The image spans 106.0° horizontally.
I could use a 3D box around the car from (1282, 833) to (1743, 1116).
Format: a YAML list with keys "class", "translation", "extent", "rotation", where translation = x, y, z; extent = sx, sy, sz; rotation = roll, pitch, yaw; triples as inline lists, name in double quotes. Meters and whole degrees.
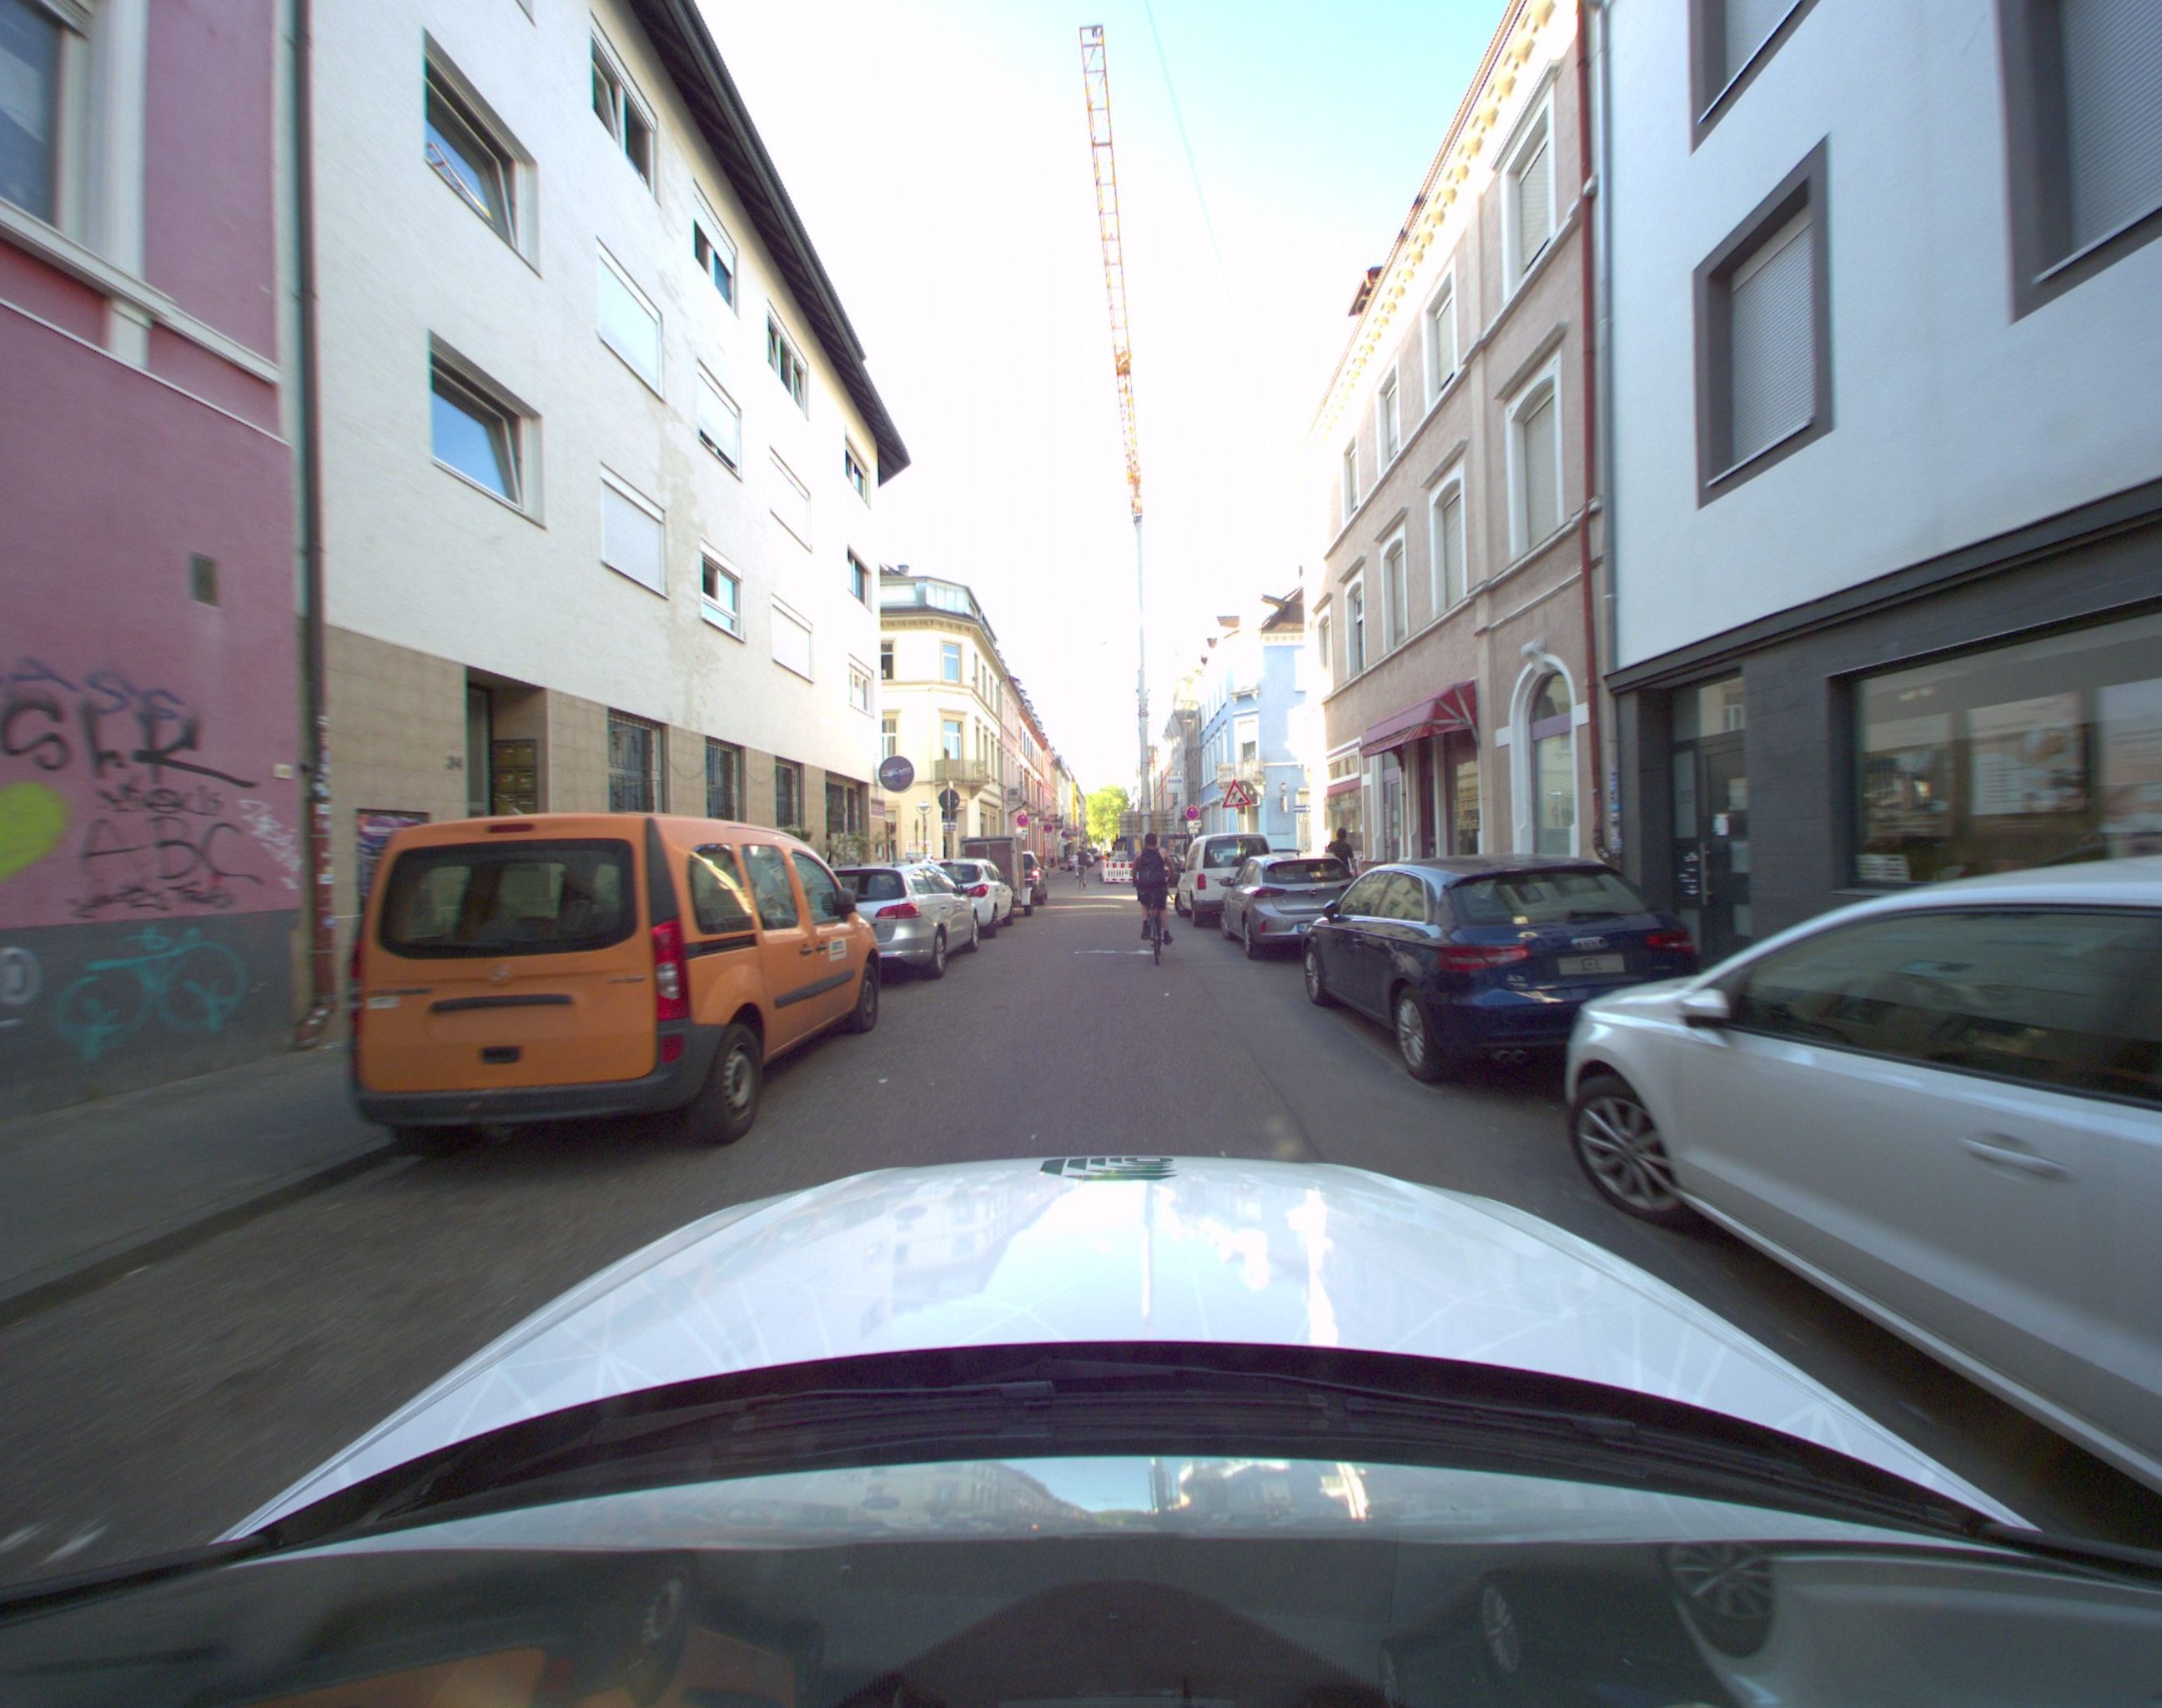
- class: "car"
  translation: [2.953, 0.708, 6.647]
  extent: [1.640, 1.475, 3.972]
  rotation: [-5, -1, 2]

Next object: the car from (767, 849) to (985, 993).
- class: "car"
  translation: [-2.548, 0.763, 11.254]
  extent: [1.743, 1.537, 4.320]
  rotation: [-2, -1, 2]

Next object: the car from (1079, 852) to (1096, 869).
- class: "car"
  translation: [0.729, 0.720, 91.320]
  extent: [1.743, 1.821, 3.797]
  rotation: [-2, -1, 2]

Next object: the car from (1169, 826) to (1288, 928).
- class: "car"
  translation: [3.045, 0.459, 17.574]
  extent: [1.745, 1.879, 3.971]
  rotation: [-2, -1, -1]

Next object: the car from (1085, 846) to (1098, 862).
- class: "car"
  translation: [1.624, -0.020, 120.526]
  extent: [1.743, 2.318, 3.797]
  rotation: [-2, -1, 2]

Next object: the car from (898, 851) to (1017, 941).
- class: "car"
  translation: [-2.337, 0.756, 16.270]
  extent: [1.647, 1.537, 3.635]
  rotation: [-2, -1, 2]

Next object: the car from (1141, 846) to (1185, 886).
- class: "car"
  translation: [3.477, 0.511, 34.969]
  extent: [1.605, 1.633, 3.611]
  rotation: [0, -1, 2]

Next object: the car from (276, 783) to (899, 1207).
- class: "car"
  translation: [-2.696, 0.655, 5.727]
  extent: [1.746, 1.816, 4.079]
  rotation: [-3, -1, 1]

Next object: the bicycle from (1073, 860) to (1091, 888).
- class: "bicycle"
  translation: [0.055, 0.800, 33.870]
  extent: [0.646, 1.129, 2.136]
  rotation: [0, -1, 2]

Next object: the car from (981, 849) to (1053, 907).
- class: "car"
  translation: [-1.896, 0.698, 25.214]
  extent: [1.743, 1.573, 3.797]
  rotation: [-2, -1, 2]

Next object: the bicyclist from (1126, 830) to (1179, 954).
- class: "bicyclist"
  translation: [0.997, 0.516, 11.573]
  extent: [0.665, 1.677, 1.097]
  rotation: [0, -1, 1]

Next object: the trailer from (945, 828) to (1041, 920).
- class: "trailer"
  translation: [-2.151, 0.479, 20.904]
  extent: [1.875, 2.092, 3.738]
  rotation: [-2, -1, 2]

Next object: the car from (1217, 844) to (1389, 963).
- class: "car"
  translation: [3.203, 0.659, 12.502]
  extent: [1.743, 1.487, 3.803]
  rotation: [-2, -1, 3]

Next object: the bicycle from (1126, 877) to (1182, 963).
- class: "bicycle"
  translation: [1.006, 0.891, 11.620]
  extent: [0.674, 1.074, 1.942]
  rotation: [0, -1, 1]

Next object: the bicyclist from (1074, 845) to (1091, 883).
- class: "bicyclist"
  translation: [0.053, 0.406, 33.934]
  extent: [0.668, 1.567, 0.716]
  rotation: [0, -1, 1]

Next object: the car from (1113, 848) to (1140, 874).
- class: "car"
  translation: [2.828, 0.460, 51.198]
  extent: [1.605, 1.560, 3.611]
  rotation: [0, -1, 2]

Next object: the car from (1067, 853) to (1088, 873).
- class: "car"
  translation: [-0.295, 0.802, 74.253]
  extent: [1.743, 1.683, 3.797]
  rotation: [-2, -1, 2]

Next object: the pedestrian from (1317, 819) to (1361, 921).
- class: "pedestrian"
  translation: [5.169, 0.319, 16.364]
  extent: [0.641, 2.014, 0.764]
  rotation: [0, -1, 1]

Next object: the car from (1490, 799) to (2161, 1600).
- class: "car"
  translation: [2.879, 0.621, 2.231]
  extent: [1.660, 1.505, 3.819]
  rotation: [-4, -1, 3]
